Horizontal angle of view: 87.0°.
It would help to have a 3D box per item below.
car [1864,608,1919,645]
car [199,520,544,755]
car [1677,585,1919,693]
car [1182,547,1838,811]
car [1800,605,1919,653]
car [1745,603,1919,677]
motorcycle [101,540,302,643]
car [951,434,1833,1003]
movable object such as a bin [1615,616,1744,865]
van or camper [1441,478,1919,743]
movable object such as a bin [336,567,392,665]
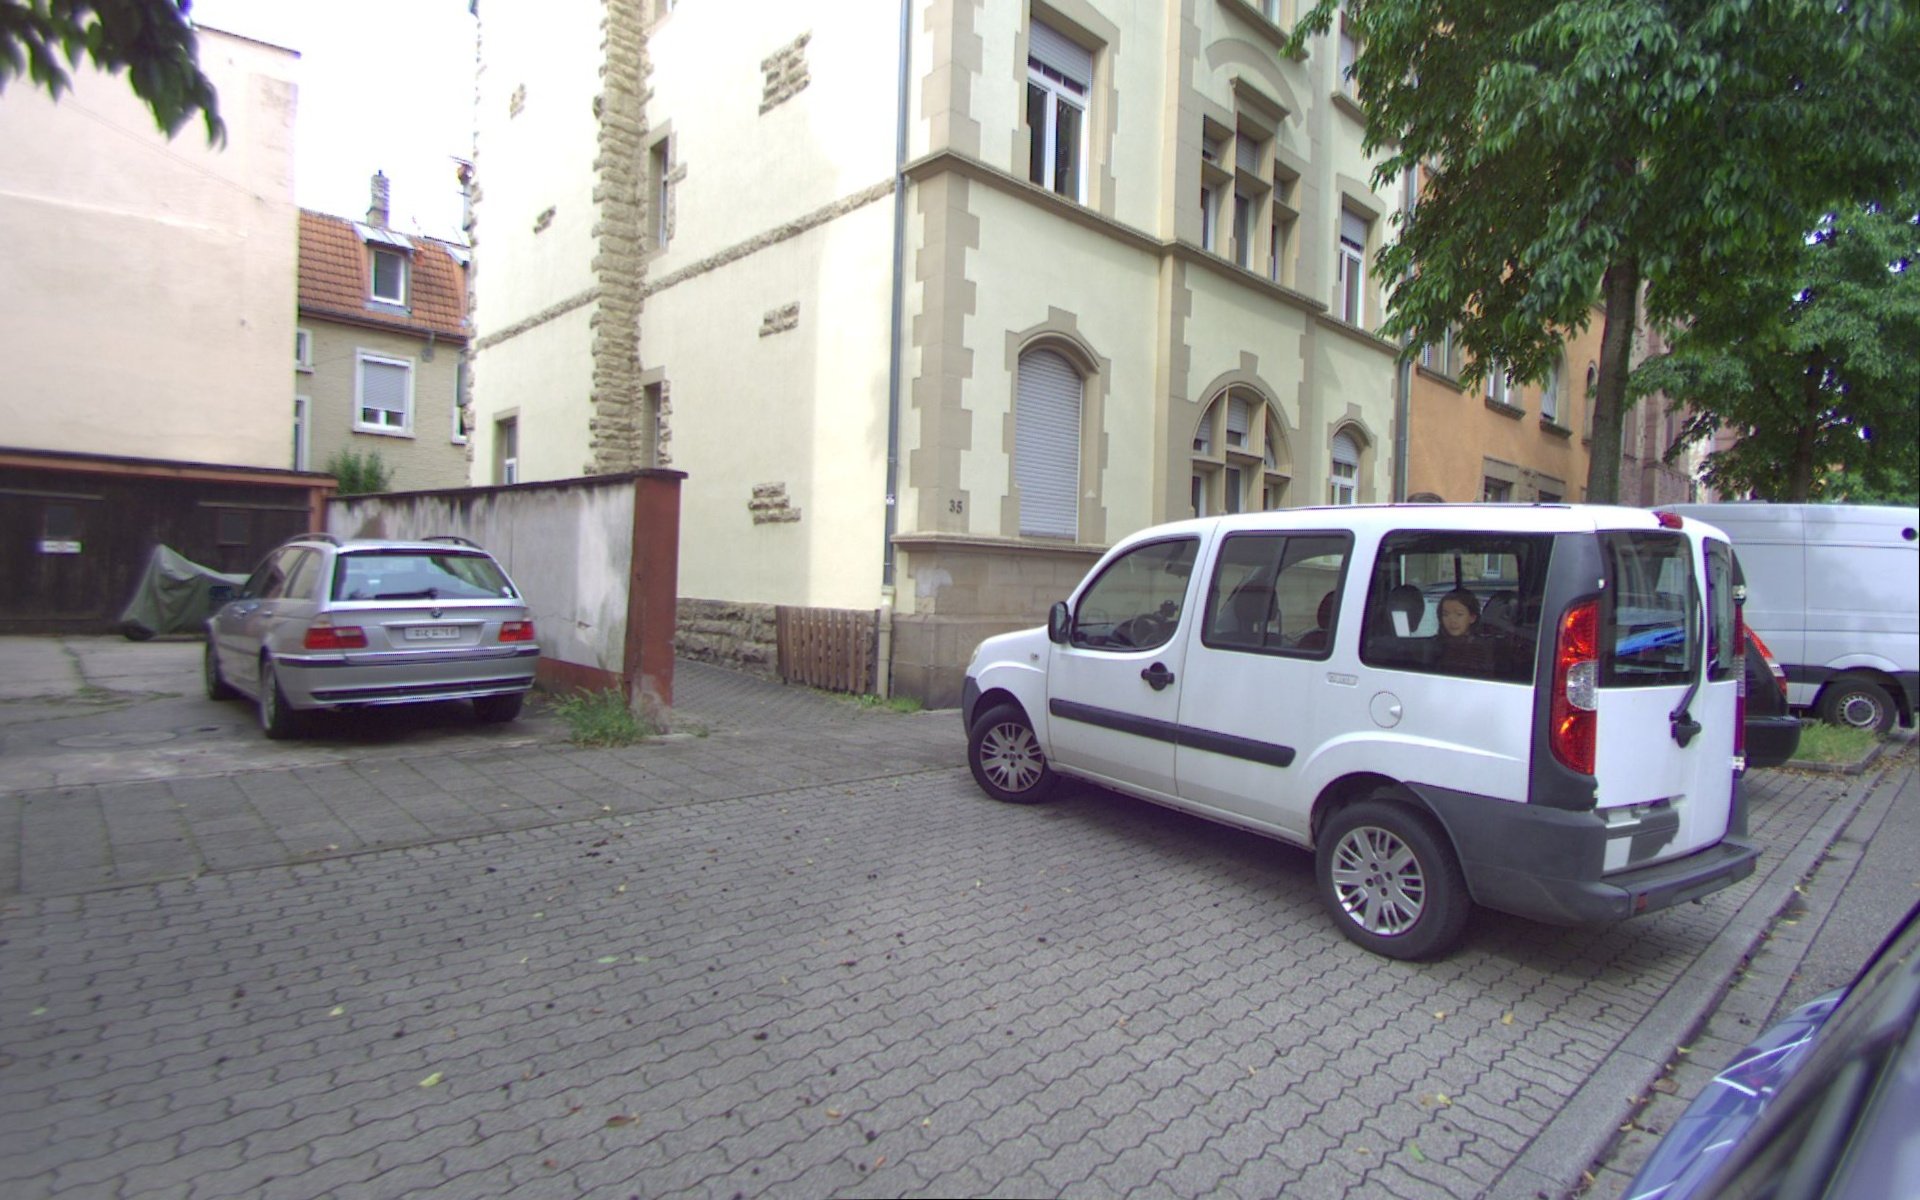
[{"bbox_3d":[40.636,1.143,42.605,3.582,1.485,1.610,2,0,34],"label":"car"},{"bbox_3d":[-5.008,0.148,8.339,1.582,1.472,3.992,1,2,-43],"label":"car"},{"bbox_3d":[15.375,0.653,18.339,3.567,1.755,1.660,2,0,24],"label":"car"},{"bbox_3d":[4.065,0.484,8.247,4.222,1.637,1.752,3,1,18],"label":"car"},{"bbox_3d":[31.587,0.971,34.655,4.121,1.517,1.817,2,0,34],"label":"car"},{"bbox_3d":[19.748,0.847,22.240,3.555,1.485,1.622,1,0,16],"label":"car"},{"bbox_3d":[-10.682,-0.116,14.315,2.211,1.349,0.797,1,2,-41],"label":"motorcycle"},{"bbox_3d":[1.784,0.422,5.416,1.686,1.834,4.003,7,-3,-31],"label":"car"},{"bbox_3d":[4.038,0.743,5.678,0.591,1.286,0.454,1,0,-43],"label":"movable object such as a bin"},{"bbox_3d":[8.916,0.050,12.388,5.003,2.622,2.063,5,2,17],"label":"van or camper"},{"bbox_3d":[-7.082,0.182,12.028,0.469,1.124,0.404,1,1,-43],"label":"movable object such as a bin"}]
